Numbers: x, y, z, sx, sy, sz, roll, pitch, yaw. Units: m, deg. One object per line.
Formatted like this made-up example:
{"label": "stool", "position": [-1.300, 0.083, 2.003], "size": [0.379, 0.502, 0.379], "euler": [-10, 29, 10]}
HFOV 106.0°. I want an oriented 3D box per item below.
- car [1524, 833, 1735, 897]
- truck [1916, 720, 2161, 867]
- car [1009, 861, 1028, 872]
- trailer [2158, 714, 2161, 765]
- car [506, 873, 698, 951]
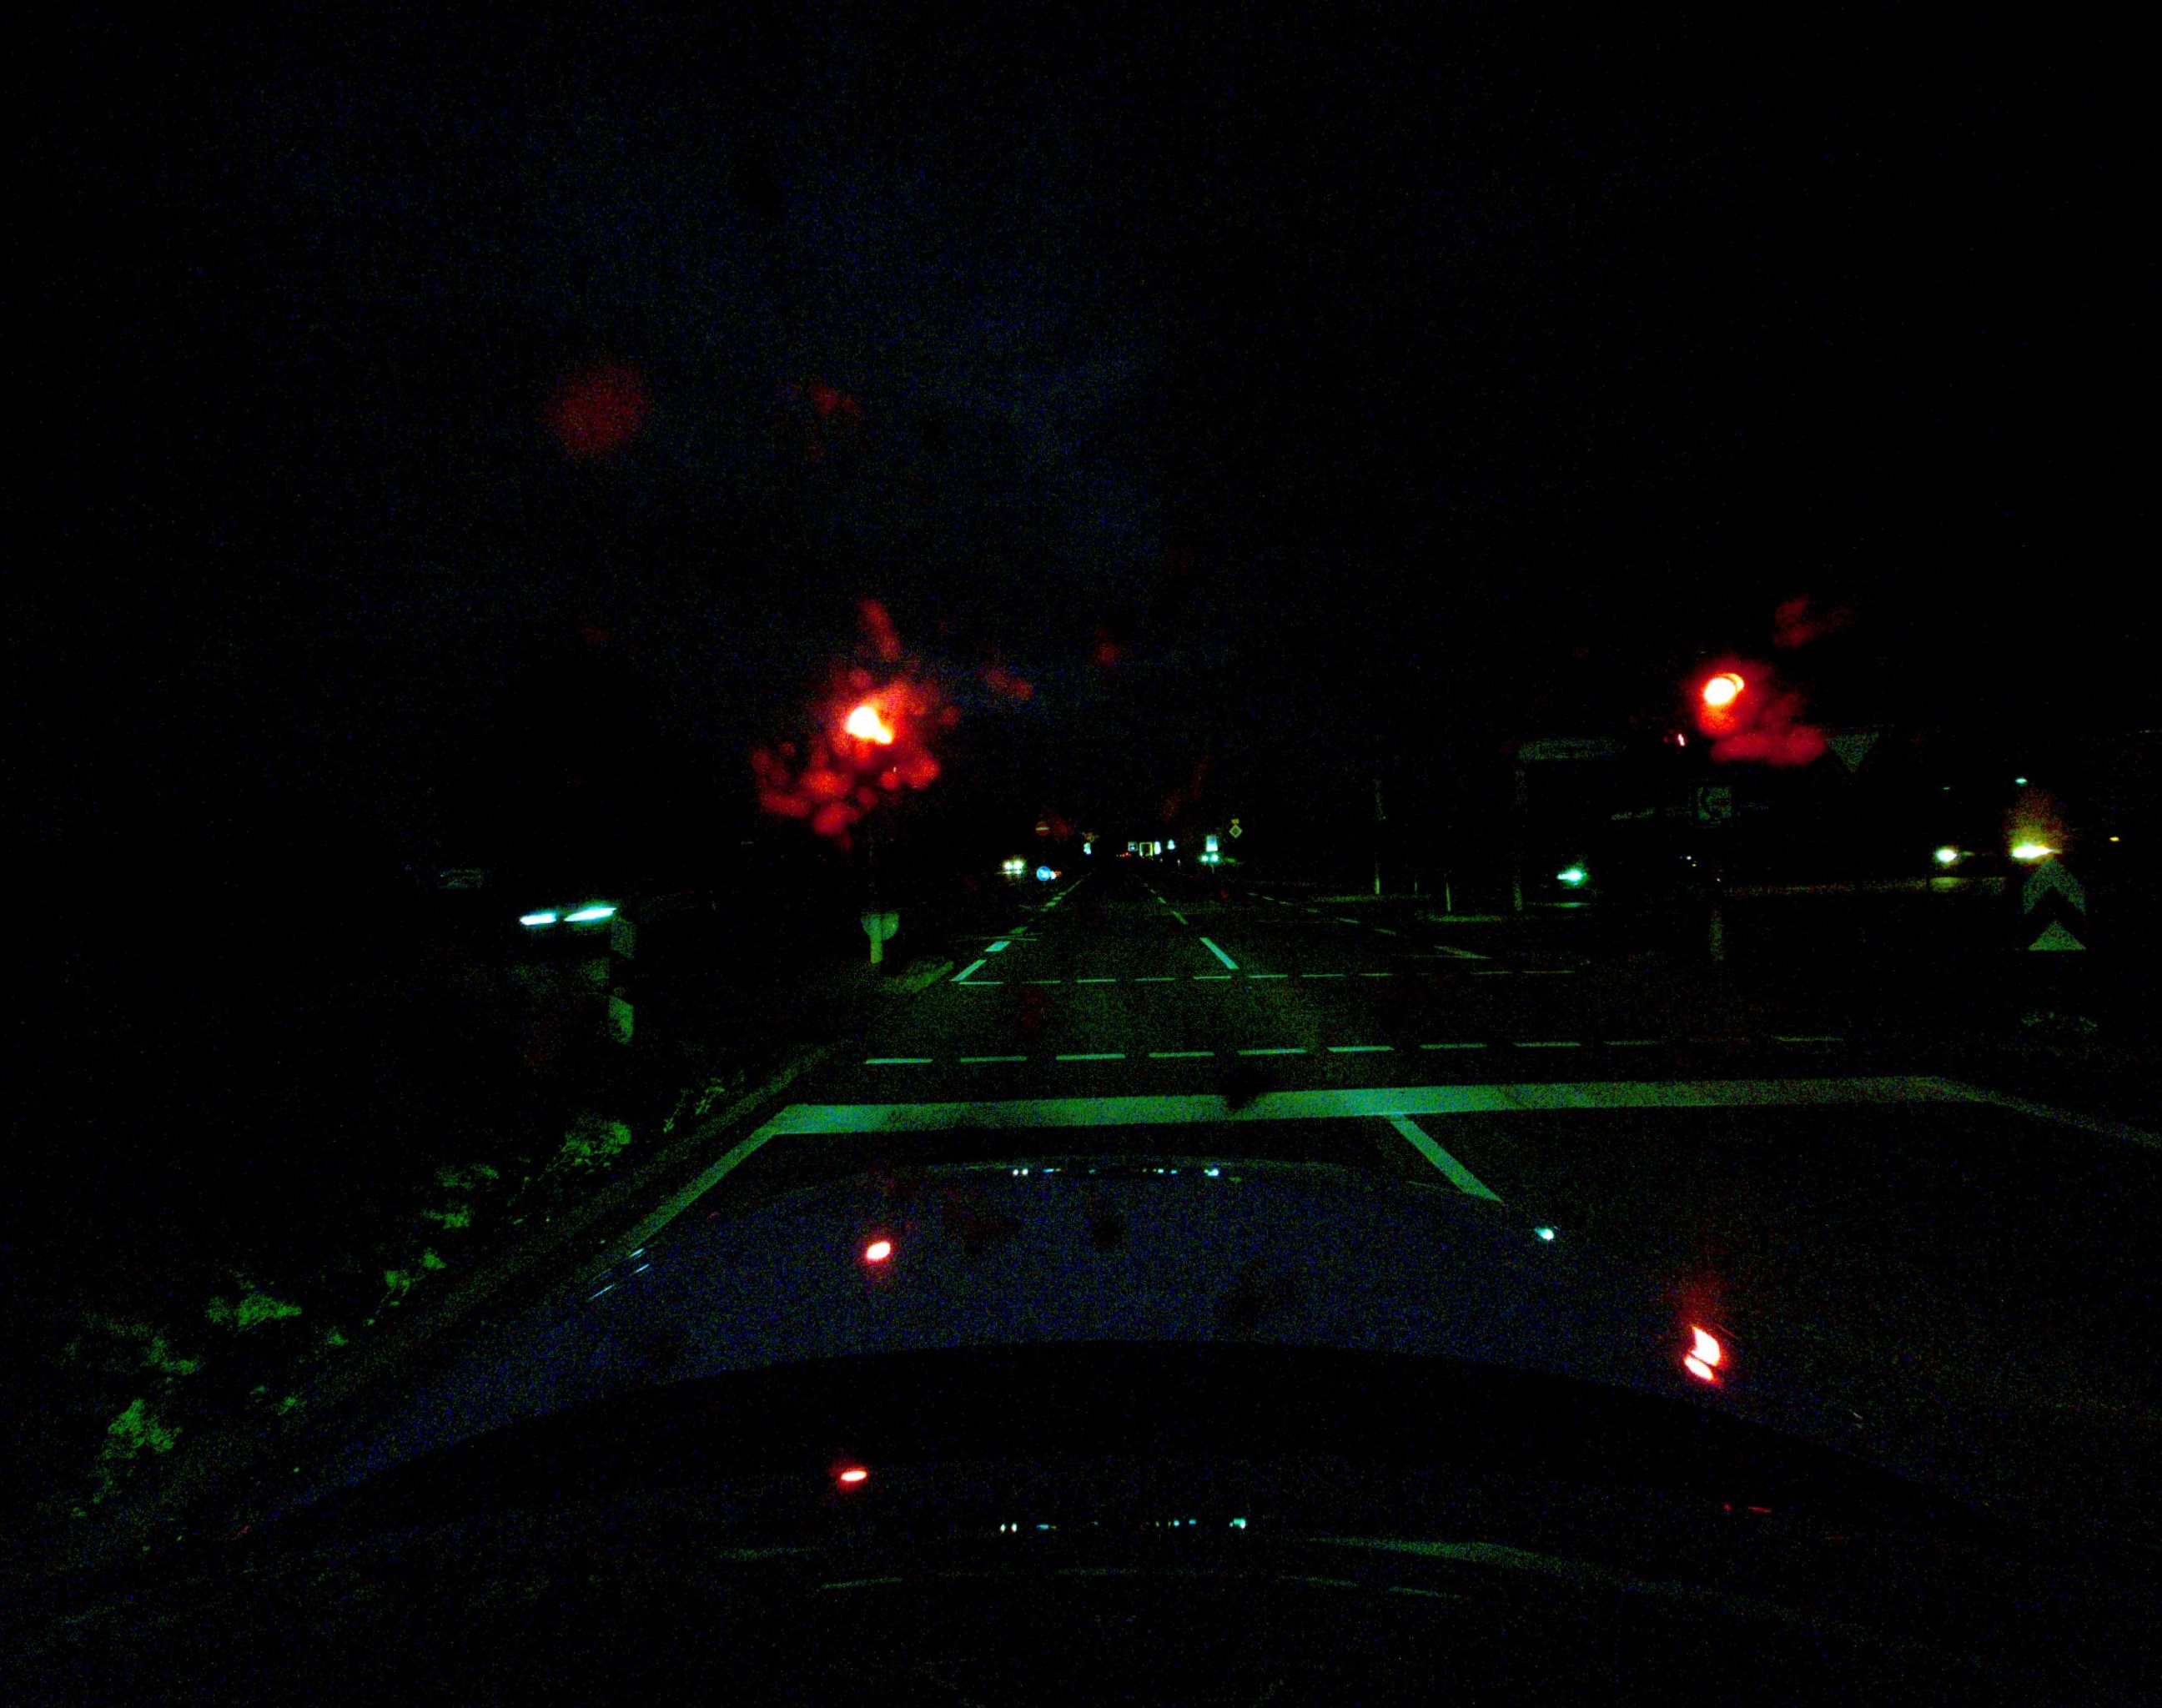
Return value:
{"label": "car", "position": [15.440, 0.289, 23.119], "size": [4.583, 1.520, 2.001], "euler": [-3, 0, 2]}
{"label": "truck", "position": [31.432, -1.874, 24.798], "size": [10.033, 3.979, 2.917], "euler": [-3, 0, -8]}
{"label": "car", "position": [-8.070, 1.604, 106.058], "size": [1.986, 1.387, 4.002], "euler": [-2, 0, 2]}
{"label": "trailer", "position": [40.618, -2.872, 26.305], "size": [9.040, 4.301, 2.916], "euler": [-5, 0, -9]}
{"label": "car", "position": [-11.415, 1.302, 19.829], "size": [1.986, 1.519, 4.299], "euler": [-2, 0, 2]}
